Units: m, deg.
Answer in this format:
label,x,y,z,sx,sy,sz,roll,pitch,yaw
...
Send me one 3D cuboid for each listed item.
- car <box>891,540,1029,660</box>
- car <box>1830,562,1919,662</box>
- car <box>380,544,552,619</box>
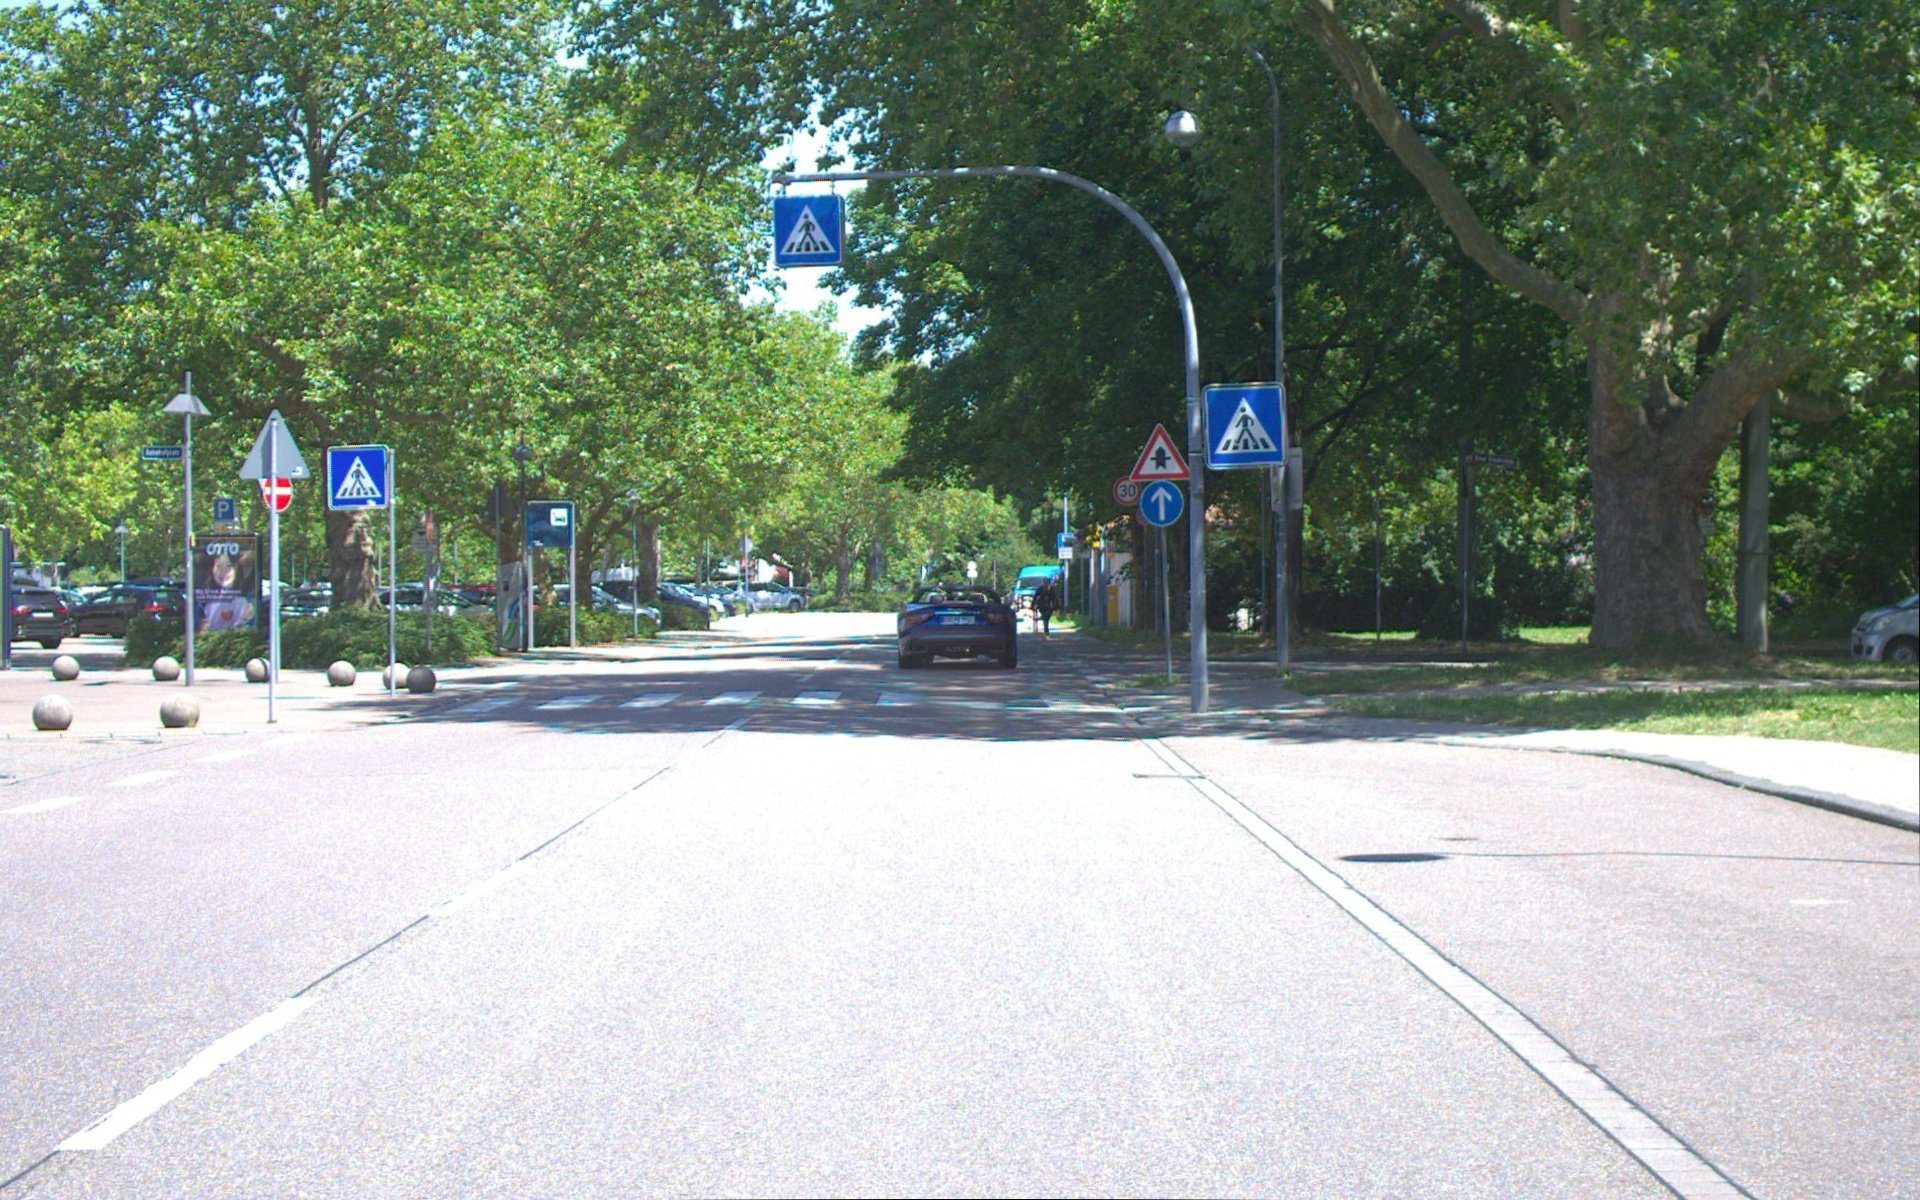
label,x,y,z,sx,sy,sz,roll,pitch,yaw
car,-0.045,-0.006,55.399,2.125,1.842,4.048,0,0,-1
car,15.339,0.159,51.568,4.105,1.461,2.000,-1,0,2
car,-12.413,-0.455,86.342,3.986,1.776,2.000,0,-2,-18
